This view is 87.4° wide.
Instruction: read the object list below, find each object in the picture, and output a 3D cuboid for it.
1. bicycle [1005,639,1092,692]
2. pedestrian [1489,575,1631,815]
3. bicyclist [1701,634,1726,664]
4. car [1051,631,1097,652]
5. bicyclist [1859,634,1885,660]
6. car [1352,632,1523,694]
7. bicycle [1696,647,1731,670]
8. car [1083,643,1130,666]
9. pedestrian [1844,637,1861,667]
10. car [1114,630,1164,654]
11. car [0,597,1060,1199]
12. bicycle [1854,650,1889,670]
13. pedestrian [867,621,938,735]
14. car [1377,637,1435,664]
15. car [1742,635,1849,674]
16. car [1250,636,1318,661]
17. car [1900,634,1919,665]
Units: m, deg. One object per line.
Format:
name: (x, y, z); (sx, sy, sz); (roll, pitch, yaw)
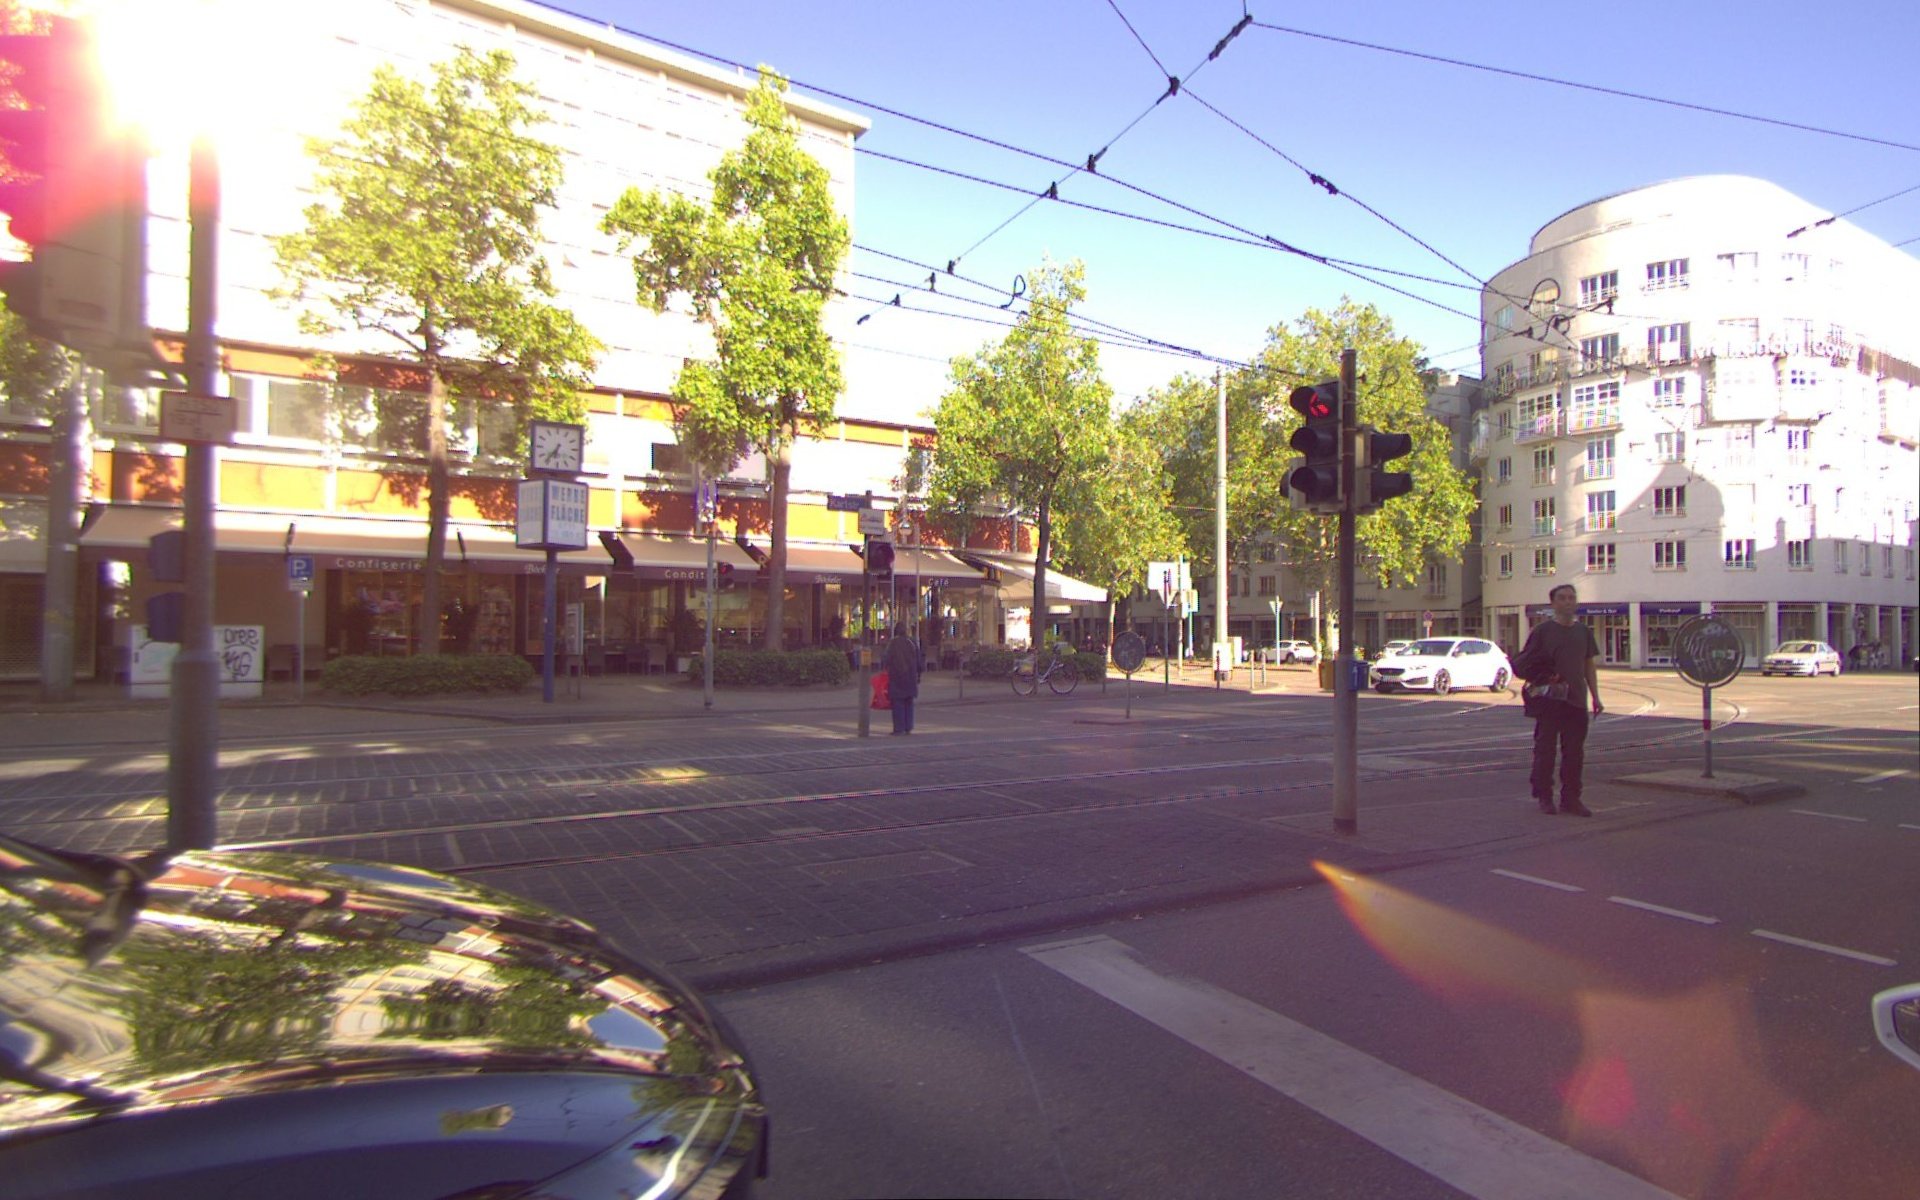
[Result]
bicycle: (2.095, 1.529, 23.674); (2.211, 1.202, 0.494); (1, -2, -33)
pedestrian: (4.755, 0.732, 7.964); (0.885, 1.786, 0.555); (1, -3, -31)
bicyclist: (33.376, 2.154, 44.477); (0.916, 1.302, 0.586); (2, -3, -30)
car: (10.402, 3.786, 91.858); (3.957, 1.906, 1.807); (2, -2, -33)
bicyclist: (45.715, 2.354, 50.363); (0.978, 1.302, 0.587); (2, -3, -23)
car: (12.463, 1.590, 26.180); (4.452, 1.470, 1.983); (1, -2, -32)
bicycle: (33.402, 2.598, 44.501); (1.796, 0.985, 0.591); (3, -3, -30)
car: (12.845, 4.743, 87.977); (3.957, 1.906, 1.807); (2, -2, -33)
pedestrian: (46.196, 2.696, 51.999); (0.434, 1.554, 0.683); (-1, 0, 23)
car: (14.967, 3.501, 83.963); (3.957, 1.906, 1.807); (2, -2, -33)
car: (-2.073, 0.707, 1.191); (4.106, 1.443, 1.801); (2, 0, -31)
bicycle: (45.745, 3.011, 50.394); (1.828, 0.985, 0.593); (2, -3, -23)
pedestrian: (-0.807, 1.072, 14.005); (0.849, 1.537, 0.497); (1, -3, -31)
car: (26.214, 2.950, 58.969); (4.074, 1.421, 1.780); (0, -1, -44)
car: (33.570, 2.142, 40.342); (4.599, 1.470, 1.983); (1, -2, -32)
car: (20.285, 3.026, 63.007); (1.780, 1.421, 3.981); (-1, -1, -26)
car: (51.838, 2.649, 53.301); (3.957, 1.617, 1.982); (3, -3, -33)
